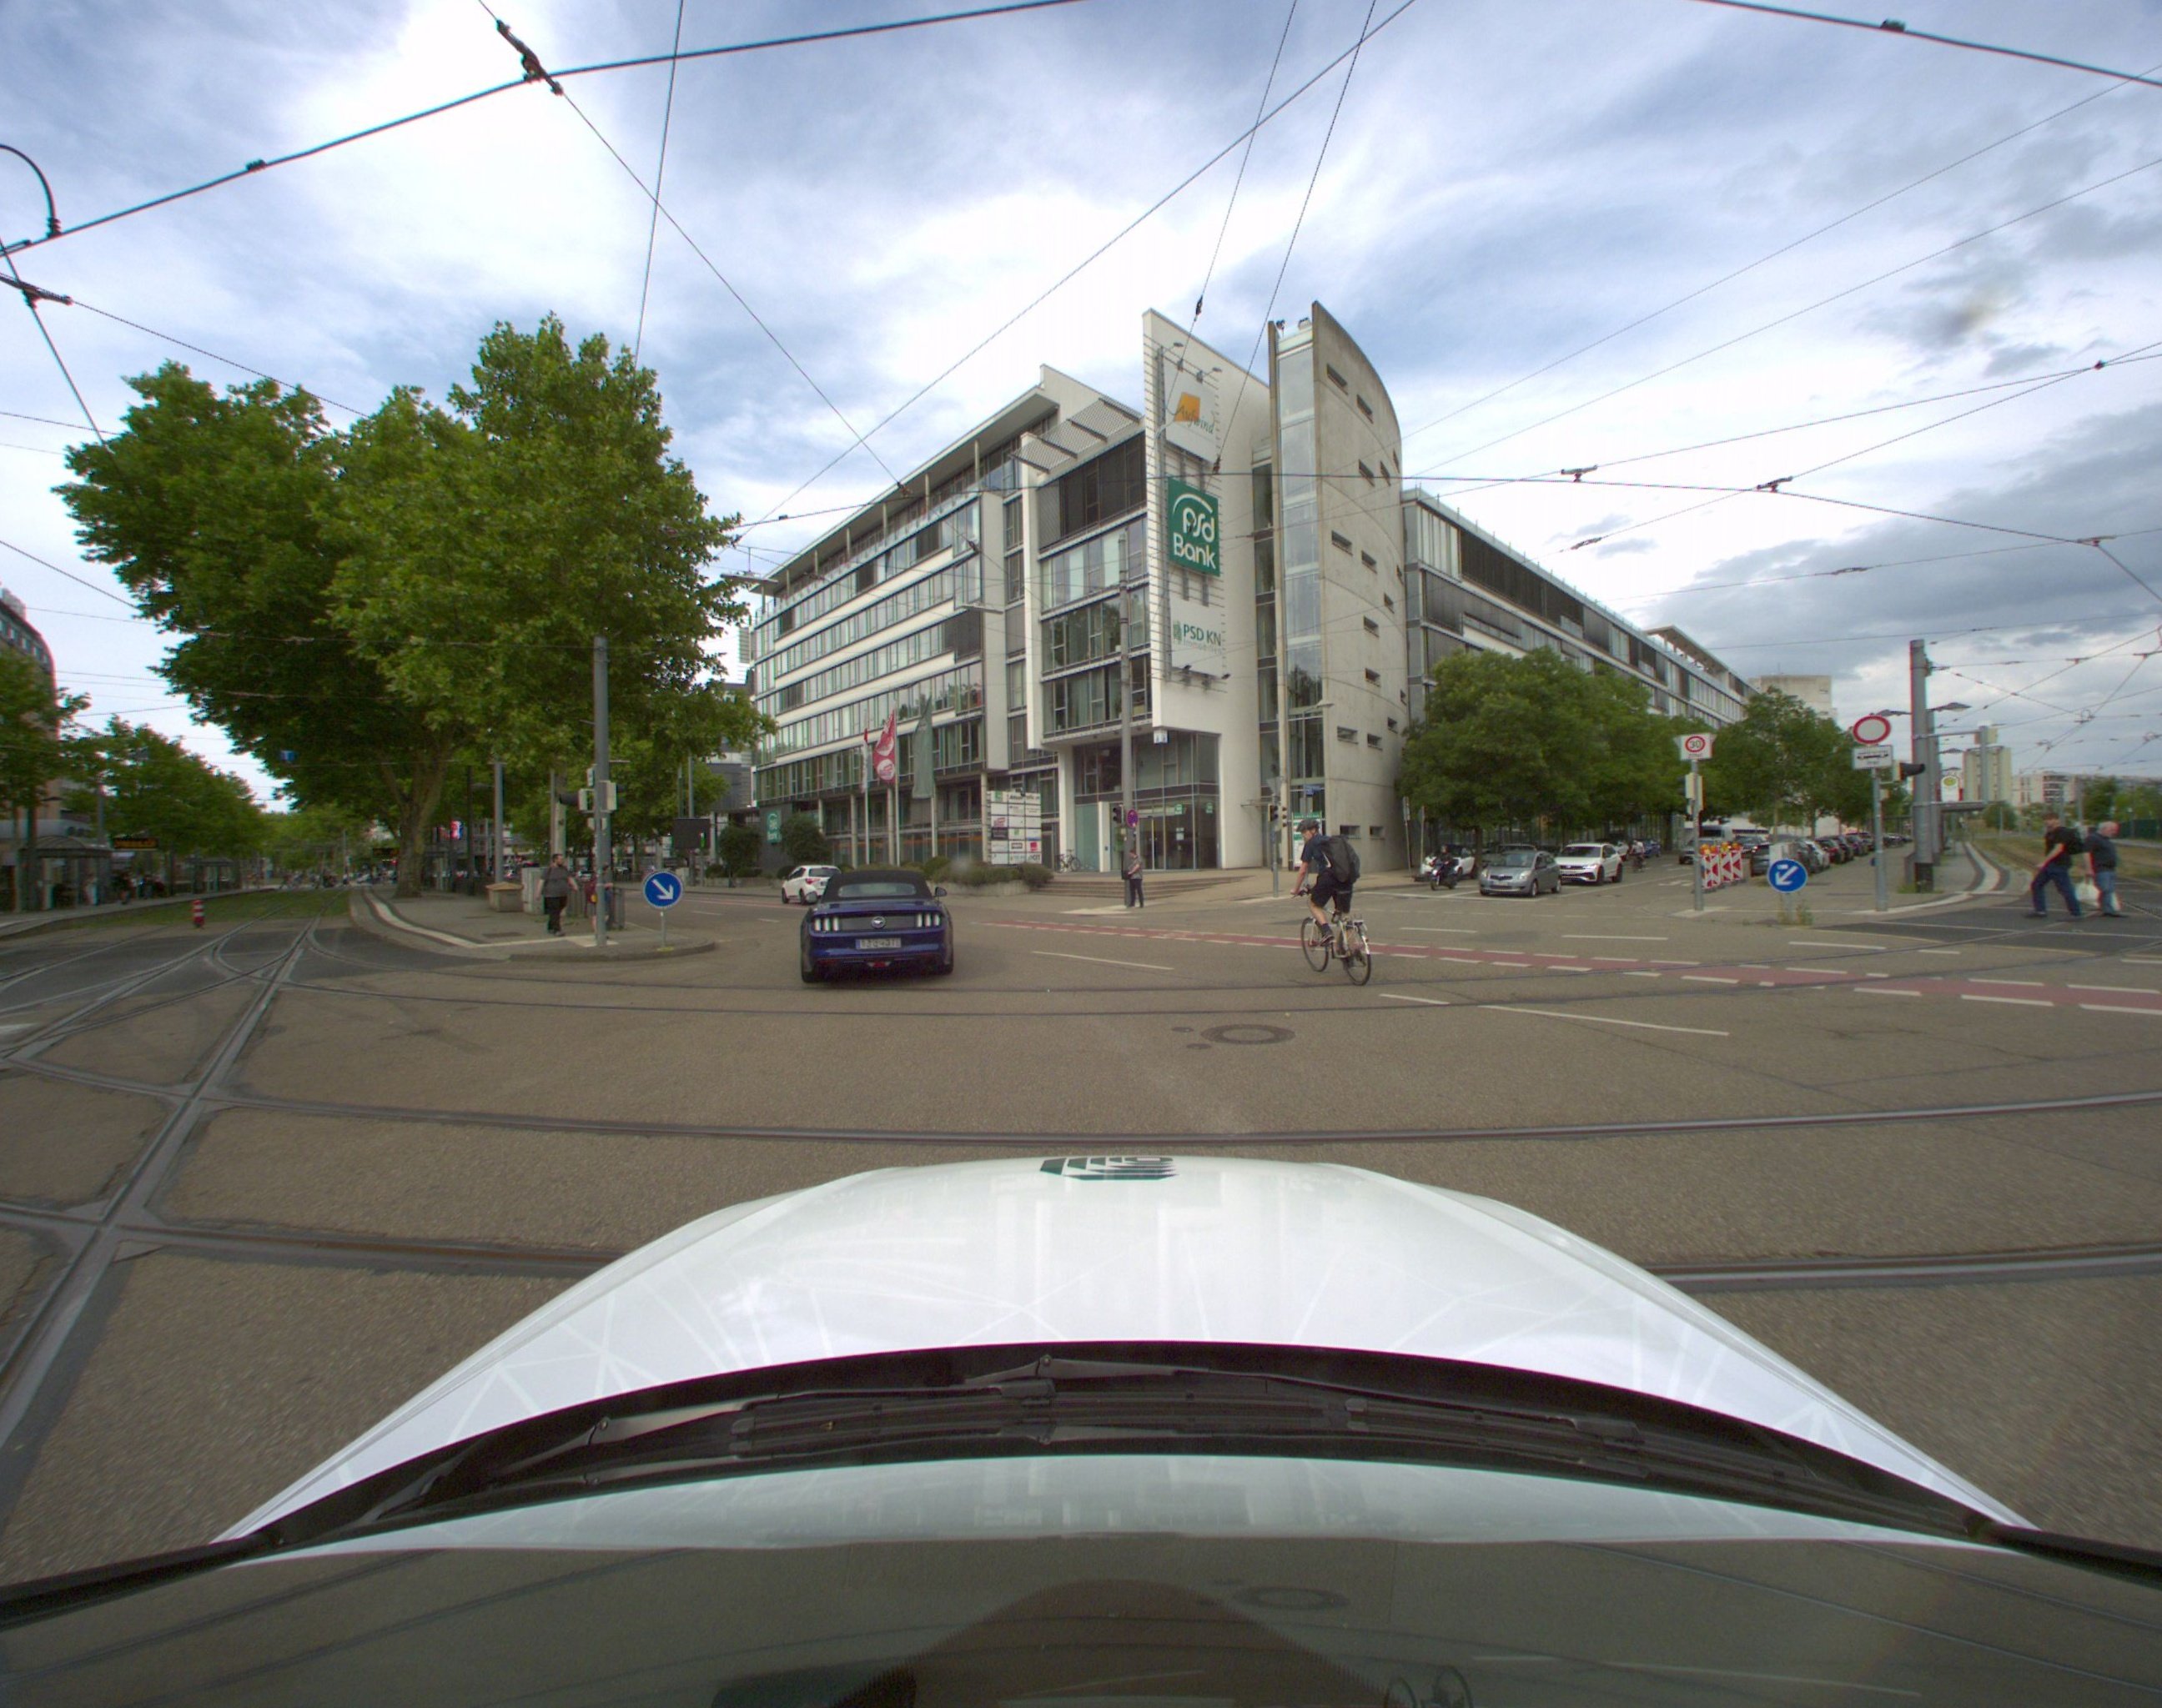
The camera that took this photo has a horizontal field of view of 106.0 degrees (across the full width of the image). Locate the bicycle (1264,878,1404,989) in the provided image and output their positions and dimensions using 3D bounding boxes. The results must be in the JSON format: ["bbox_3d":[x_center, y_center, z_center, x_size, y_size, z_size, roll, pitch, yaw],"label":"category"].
[{"bbox_3d":[2.992,0.892,9.900,0.799,1.086,2.126,-2,1,-7],"label":"bicycle"}]

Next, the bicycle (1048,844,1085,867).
[{"bbox_3d":[-0.740,0.082,42.617,0.579,1.177,2.127,1,1,44],"label":"bicycle"}]

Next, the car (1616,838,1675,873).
[{"bbox_3d":[29.482,0.027,42.505,4.157,1.659,1.699,-2,3,-44],"label":"car"}]

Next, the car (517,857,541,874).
[{"bbox_3d":[-65.793,1.407,96.996,1.851,1.903,4.126,-2,1,-40],"label":"car"}]

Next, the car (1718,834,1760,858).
[{"bbox_3d":[46.627,-0.586,57.650,4.165,1.585,1.774,-2,3,-44],"label":"car"}]

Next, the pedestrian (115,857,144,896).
[{"bbox_3d":[-46.582,1.104,39.888,0.775,1.887,0.822,-1,0,45],"label":"pedestrian"}]

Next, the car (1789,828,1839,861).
[{"bbox_3d":[39.009,-0.529,43.340,1.850,1.605,4.239,-1,1,42],"label":"car"}]

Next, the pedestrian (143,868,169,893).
[{"bbox_3d":[-59.345,1.693,52.270,1.003,1.600,0.840,-2,0,-44],"label":"pedestrian"}]

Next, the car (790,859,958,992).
[{"bbox_3d":[-2.851,0.837,11.647,1.878,1.404,4.264,-1,1,-12],"label":"car"}]

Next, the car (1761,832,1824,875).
[{"bbox_3d":[29.439,-0.037,33.658,1.861,1.628,4.112,-1,1,42],"label":"car"}]

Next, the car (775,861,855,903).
[{"bbox_3d":[-10.427,1.039,31.719,1.849,1.439,4.143,-2,1,-34],"label":"car"}]

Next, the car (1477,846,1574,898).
[{"bbox_3d":[15.121,0.542,27.612,4.259,1.506,1.653,-2,3,-44],"label":"car"}]

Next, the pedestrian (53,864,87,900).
[{"bbox_3d":[-45.123,1.242,36.351,0.775,1.536,0.822,-1,0,45],"label":"pedestrian"}]

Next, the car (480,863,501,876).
[{"bbox_3d":[-77.981,2.046,107.531,1.851,1.521,4.126,-2,1,-40],"label":"car"}]

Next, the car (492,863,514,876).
[{"bbox_3d":[-73.146,1.937,103.073,1.851,1.521,4.126,-2,1,-40],"label":"car"}]

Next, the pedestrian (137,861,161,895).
[{"bbox_3d":[-55.645,1.413,48.633,0.822,1.993,0.775,-2,0,-44],"label":"pedestrian"}]

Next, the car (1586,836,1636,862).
[{"bbox_3d":[35.415,-0.351,54.368,1.968,1.556,4.540,2,3,44],"label":"car"}]

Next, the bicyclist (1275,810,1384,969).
[{"bbox_3d":[2.981,0.397,9.897,0.795,1.785,1.230,-2,0,-7],"label":"bicyclist"}]

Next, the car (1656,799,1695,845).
[{"bbox_3d":[49.317,-2.632,67.504,1.968,3.636,4.540,2,3,44],"label":"car"}]

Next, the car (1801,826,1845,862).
[{"bbox_3d":[42.560,-0.587,46.717,1.768,1.987,4.146,-1,1,42],"label":"car"}]

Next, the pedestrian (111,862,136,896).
[{"bbox_3d":[-53.804,1.392,45.757,0.775,1.887,0.822,-1,0,45],"label":"pedestrian"}]

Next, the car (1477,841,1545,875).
[{"bbox_3d":[22.099,0.174,41.762,4.241,1.556,1.813,-2,3,-44],"label":"car"}]

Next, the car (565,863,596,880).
[{"bbox_3d":[-50.181,1.690,81.548,1.897,1.582,4.273,-1,0,-42],"label":"car"}]

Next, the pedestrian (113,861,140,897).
[{"bbox_3d":[-51.687,1.364,44.102,0.775,1.887,0.822,-1,0,45],"label":"pedestrian"}]

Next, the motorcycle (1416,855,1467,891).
[{"bbox_3d":[13.457,0.682,30.357,2.516,1.199,0.818,-2,2,-43],"label":"motorcycle"}]

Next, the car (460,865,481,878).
[{"bbox_3d":[-76.058,2.196,101.430,1.851,1.547,4.165,-2,1,-40],"label":"car"}]

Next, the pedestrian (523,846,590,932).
[{"bbox_3d":[-11.587,0.759,18.000,0.836,1.855,0.844,-2,0,17],"label":"pedestrian"}]

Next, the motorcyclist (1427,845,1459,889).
[{"bbox_3d":[13.488,0.462,30.374,0.887,1.616,0.812,-2,1,-43],"label":"motorcyclist"}]

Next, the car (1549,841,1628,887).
[{"bbox_3d":[20.476,0.350,32.777,4.157,1.659,1.699,-2,3,-44],"label":"car"}]

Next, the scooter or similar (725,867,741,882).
[{"bbox_3d":[-22.985,1.329,53.773,0.592,0.950,1.839,-2,0,-36],"label":"scooter or similar"}]

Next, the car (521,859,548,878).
[{"bbox_3d":[-58.290,1.572,86.898,1.906,1.903,4.080,-2,1,-40],"label":"car"}]

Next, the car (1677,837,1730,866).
[{"bbox_3d":[37.947,-0.202,49.616,4.205,1.585,1.886,-2,3,-44],"label":"car"}]

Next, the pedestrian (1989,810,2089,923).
[{"bbox_3d":[16.886,0.200,14.363,0.906,1.898,1.077,-2,0,-38],"label":"pedestrian"}]

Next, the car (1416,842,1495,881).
[{"bbox_3d":[16.986,0.276,36.840,4.241,1.556,1.813,-2,3,-44],"label":"car"}]

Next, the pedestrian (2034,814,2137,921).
[{"bbox_3d":[18.230,0.231,14.792,0.904,1.855,0.983,-2,0,-26],"label":"pedestrian"}]

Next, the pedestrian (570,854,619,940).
[{"bbox_3d":[-9.987,0.850,16.708,0.769,1.671,0.928,-2,0,-35],"label":"pedestrian"}]

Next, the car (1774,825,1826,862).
[{"bbox_3d":[33.385,-0.499,37.772,1.688,1.605,4.104,-1,1,42],"label":"car"}]

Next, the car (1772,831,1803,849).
[{"bbox_3d":[65.766,-1.289,75.793,4.165,1.585,1.774,-2,3,-44],"label":"car"}]

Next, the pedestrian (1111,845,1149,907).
[{"bbox_3d":[1.511,0.659,25.127,0.769,1.865,0.827,-2,0,-35],"label":"pedestrian"}]
